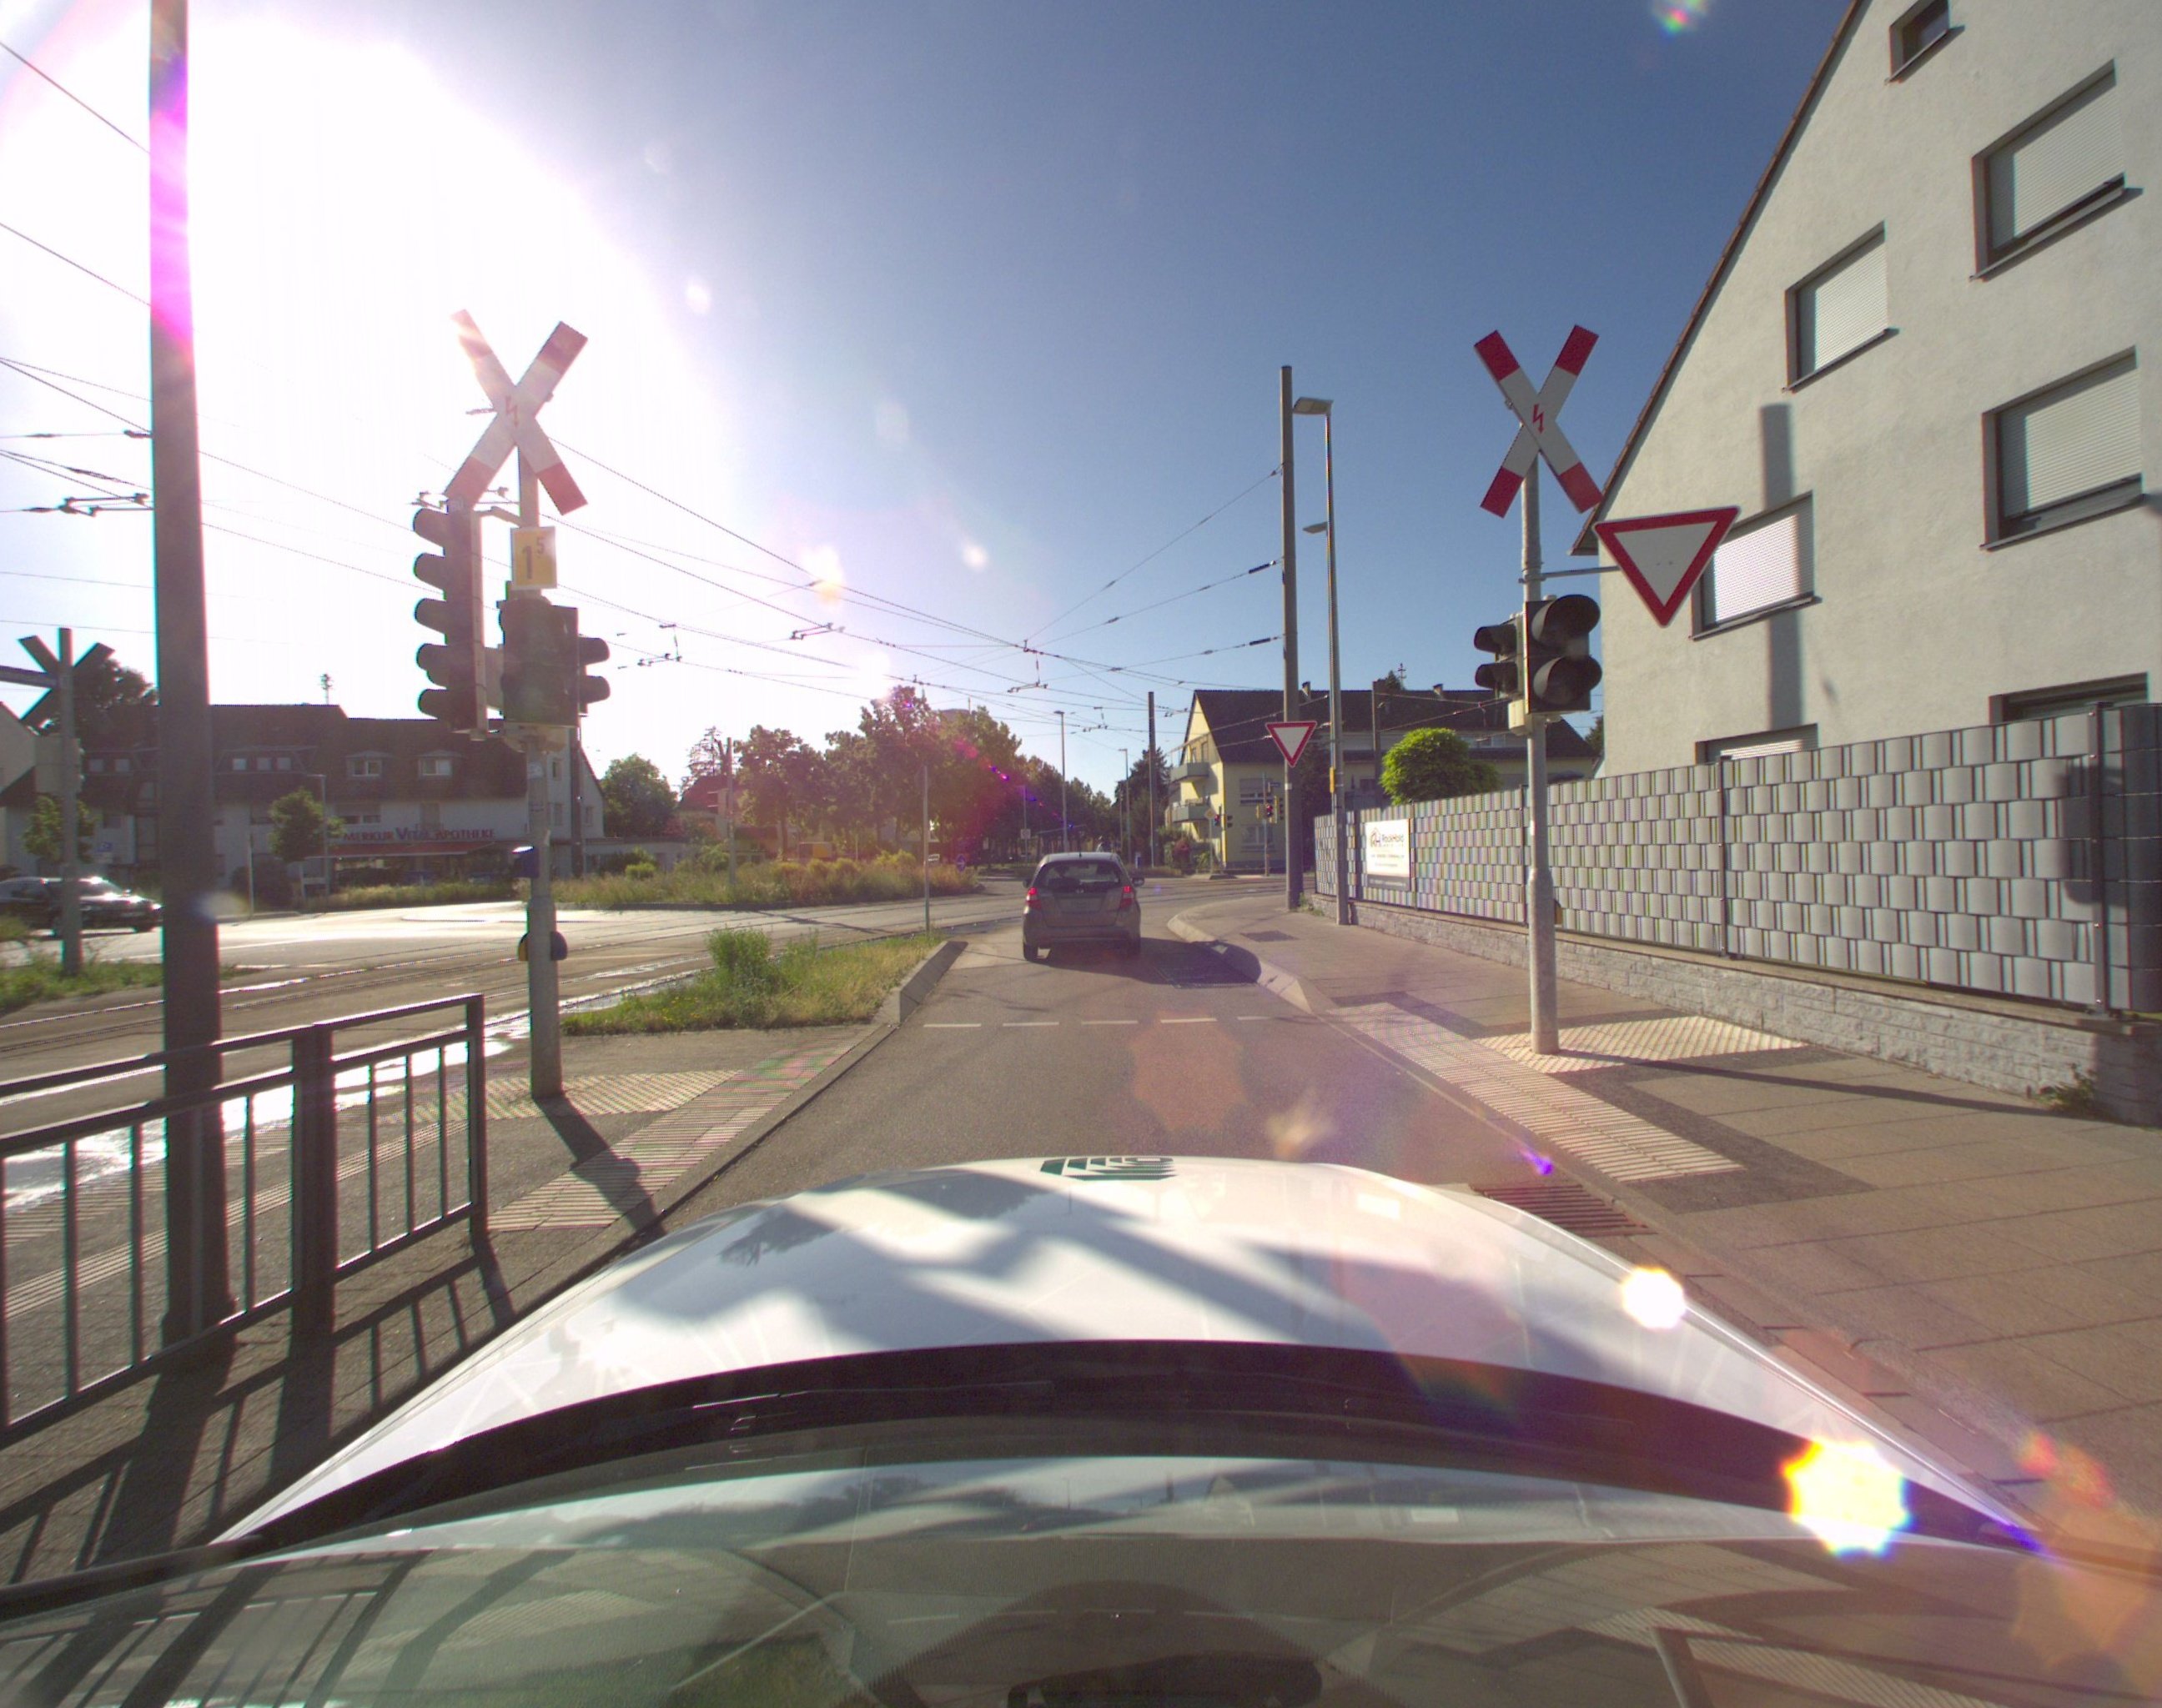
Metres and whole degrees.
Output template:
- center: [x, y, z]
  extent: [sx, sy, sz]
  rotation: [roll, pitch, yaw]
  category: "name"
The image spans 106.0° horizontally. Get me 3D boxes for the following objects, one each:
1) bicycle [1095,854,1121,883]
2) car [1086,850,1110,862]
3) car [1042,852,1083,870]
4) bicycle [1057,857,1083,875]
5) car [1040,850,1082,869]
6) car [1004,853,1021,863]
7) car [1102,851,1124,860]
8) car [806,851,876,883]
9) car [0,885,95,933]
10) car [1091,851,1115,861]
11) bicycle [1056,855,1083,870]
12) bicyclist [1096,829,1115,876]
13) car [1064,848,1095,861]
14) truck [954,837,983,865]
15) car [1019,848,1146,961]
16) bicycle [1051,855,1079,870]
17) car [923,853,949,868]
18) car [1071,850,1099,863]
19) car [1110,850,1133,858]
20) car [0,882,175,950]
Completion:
- center: [0.992, 0.524, 30.570]
  extent: [0.765, 1.037, 1.531]
  rotation: [-1, 0, -5]
  category: "bicycle"
- center: [2.310, 0.274, 112.101]
  extent: [3.348, 1.533, 1.523]
  rotation: [0, 0, 0]
  category: "car"
- center: [-1.632, 0.594, 71.572]
  extent: [3.504, 1.533, 1.578]
  rotation: [0, 0, 1]
  category: "car"
- center: [-0.741, 0.809, 54.503]
  extent: [1.662, 1.208, 0.688]
  rotation: [0, 0, -3]
  category: "bicycle"
- center: [-1.678, 0.465, 69.796]
  extent: [3.504, 1.533, 1.578]
  rotation: [0, 0, 1]
  category: "car"
- center: [-10.550, 0.562, 125.972]
  extent: [1.822, 1.580, 4.447]
  rotation: [0, 0, 5]
  category: "car"
- center: [5.342, 0.301, 136.213]
  extent: [3.505, 1.533, 1.577]
  rotation: [0, 0, 0]
  category: "car"
- center: [-16.495, 0.862, 56.267]
  extent: [1.978, 1.981, 5.261]
  rotation: [-3, 0, 16]
  category: "car"
- center: [-42.000, 2.128, 31.730]
  extent: [4.353, 1.698, 1.995]
  rotation: [0, 0, -8]
  category: "car"
- center: [3.131, 0.310, 116.833]
  extent: [3.467, 1.493, 1.552]
  rotation: [0, 0, 0]
  category: "car"
- center: [-0.816, 0.573, 57.298]
  extent: [1.836, 1.027, 0.688]
  rotation: [0, 0, -3]
  category: "bicycle"
- center: [0.937, -0.055, 30.829]
  extent: [0.601, 1.714, 0.543]
  rotation: [-2, -2, -4]
  category: "bicyclist"
- center: [-0.213, 0.054, 93.708]
  extent: [3.504, 1.533, 1.578]
  rotation: [0, 0, 1]
  category: "car"
- center: [-16.339, -0.472, 118.729]
  extent: [3.059, 3.993, 8.009]
  rotation: [0, 1, 1]
  category: "truck"
- center: [0.055, 0.669, 12.907]
  extent: [1.682, 1.491, 3.915]
  rotation: [-1, 0, 1]
  category: "car"
- center: [-1.144, 0.602, 58.188]
  extent: [1.968, 1.027, 0.695]
  rotation: [0, 0, -3]
  category: "bicycle"
- center: [-17.944, 0.787, 101.058]
  extent: [1.984, 1.773, 5.066]
  rotation: [0, 0, 5]
  category: "car"
- center: [0.526, 0.286, 106.412]
  extent: [3.396, 1.533, 1.527]
  rotation: [-2, 0, 4]
  category: "car"
- center: [6.213, -0.018, 126.262]
  extent: [3.505, 1.279, 1.577]
  rotation: [0, 0, 0]
  category: "car"
- center: [-28.505, 1.712, 23.205]
  extent: [4.212, 1.670, 1.826]
  rotation: [0, 2, 16]
  category: "car"
